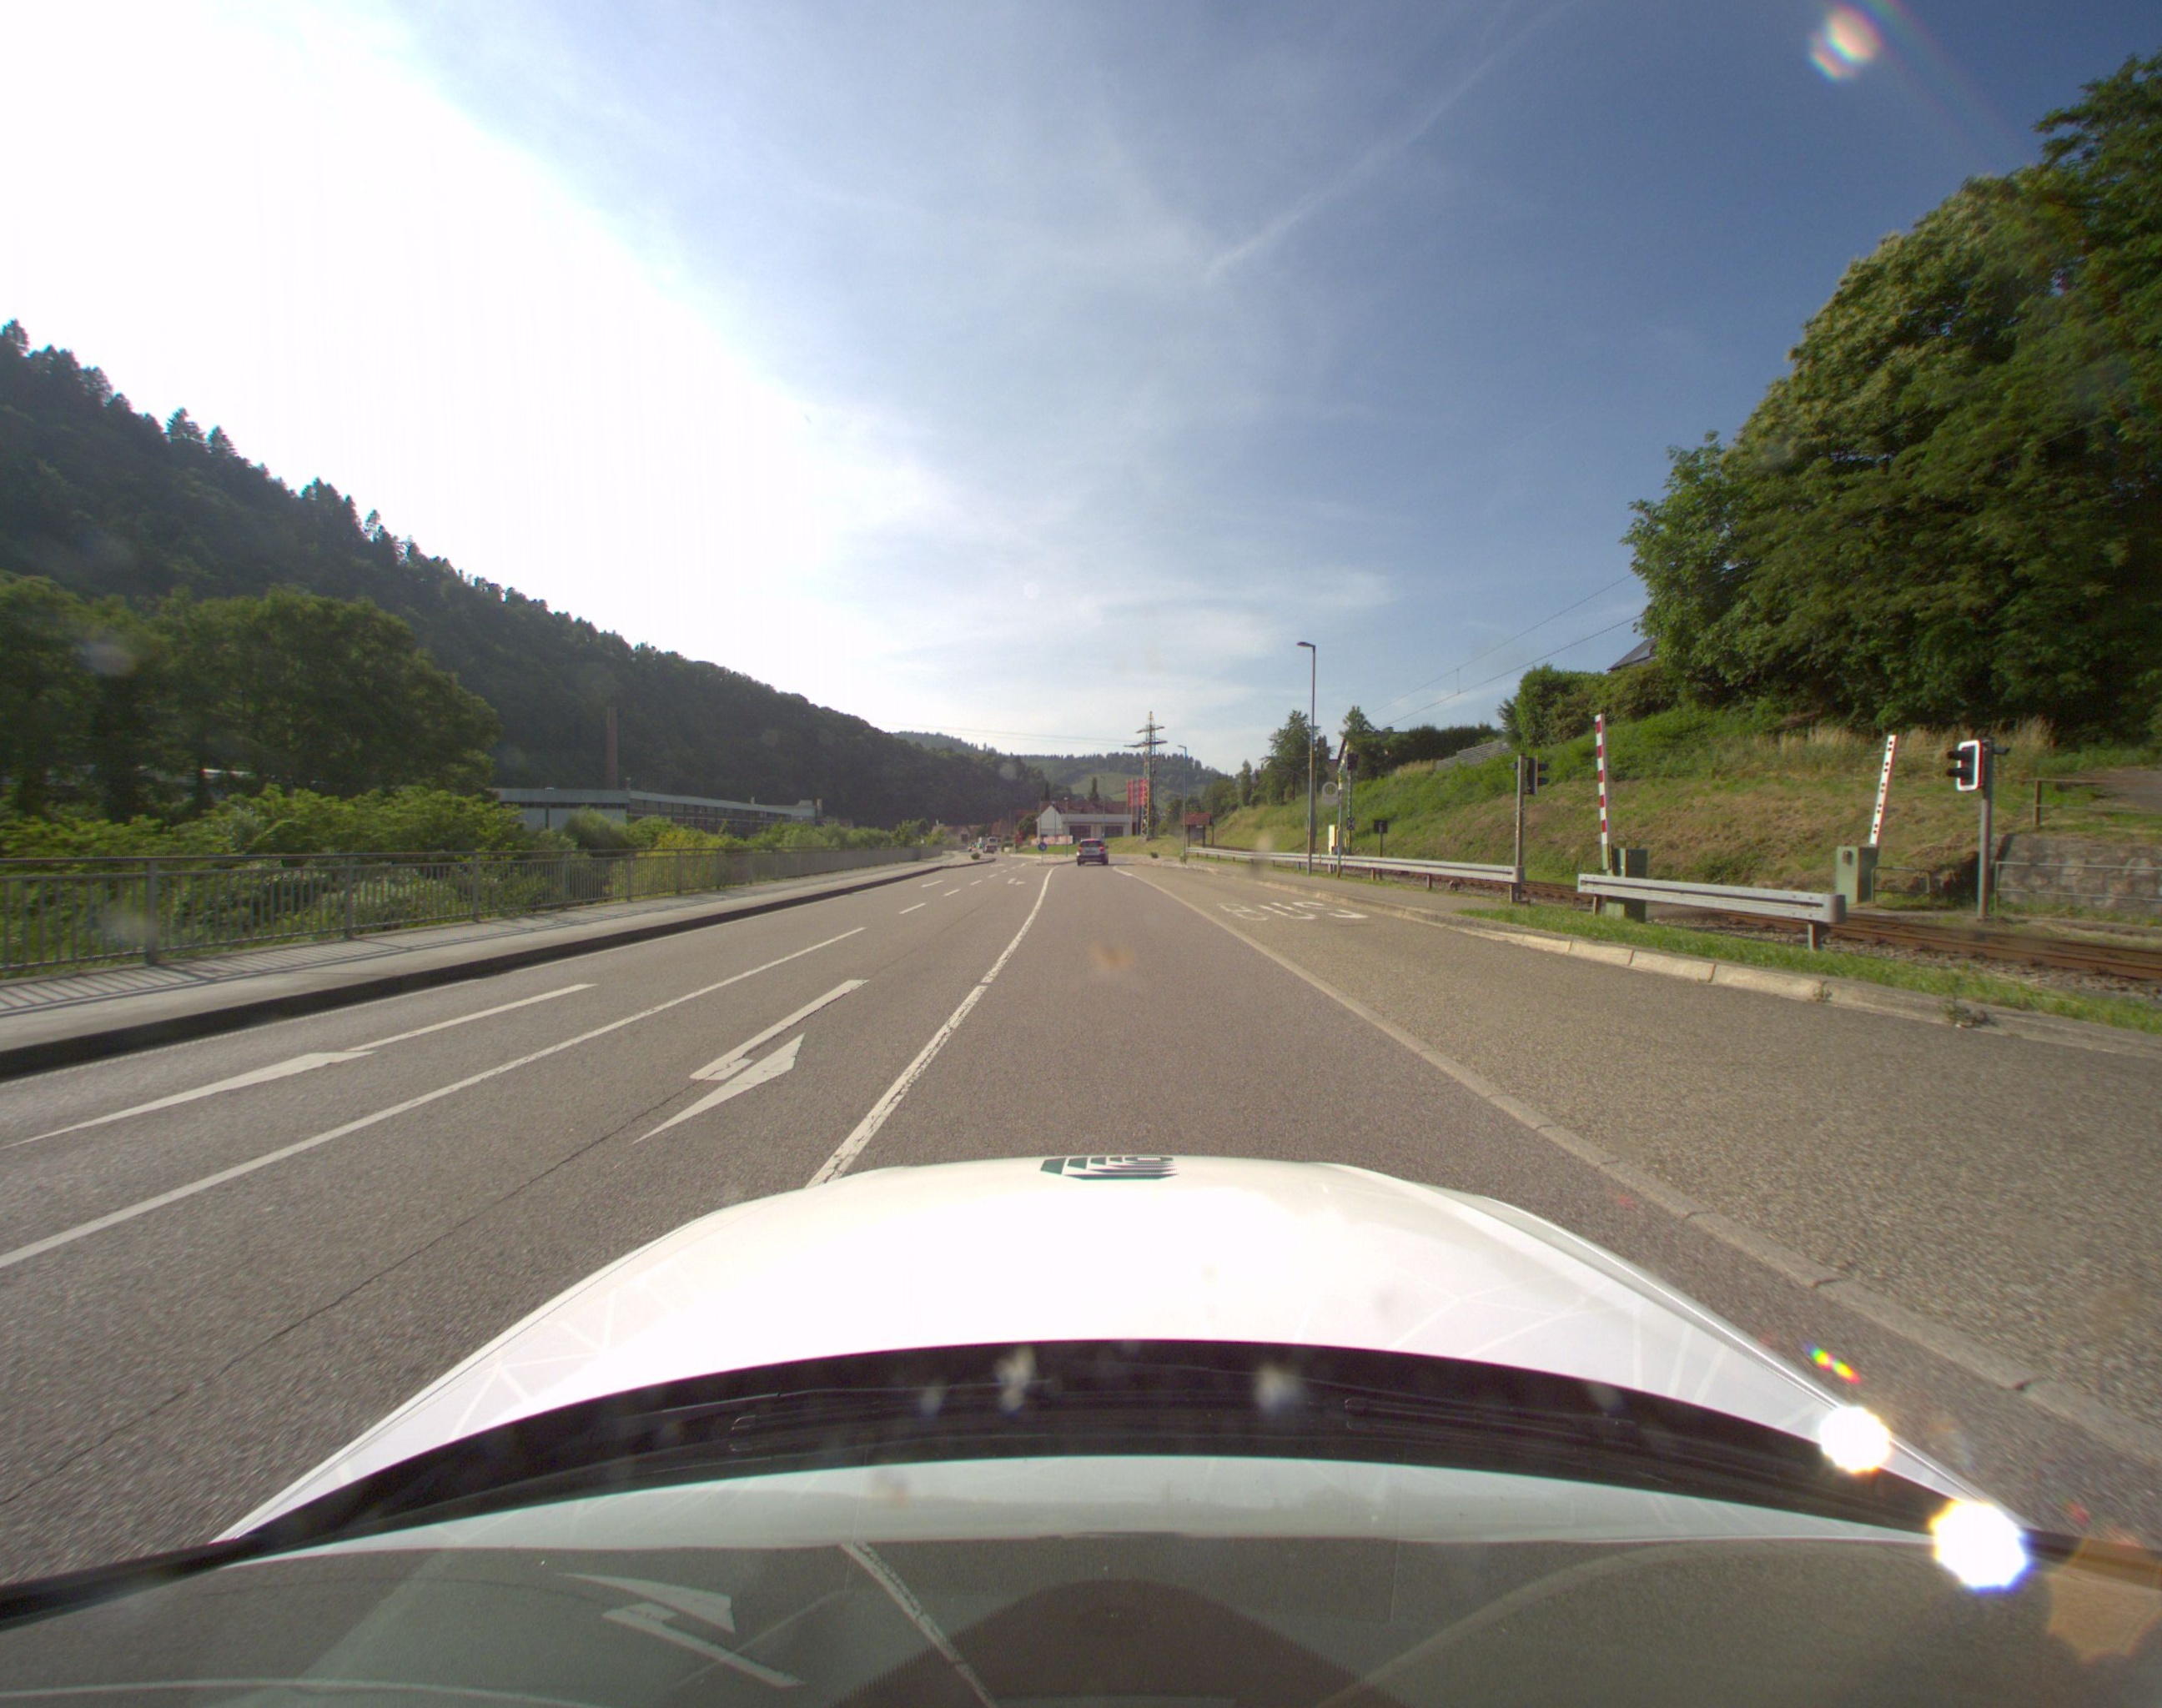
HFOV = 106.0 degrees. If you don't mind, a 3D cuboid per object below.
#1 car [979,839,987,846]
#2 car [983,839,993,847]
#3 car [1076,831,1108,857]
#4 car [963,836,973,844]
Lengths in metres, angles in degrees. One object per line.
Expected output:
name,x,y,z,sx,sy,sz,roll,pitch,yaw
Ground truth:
car,-20.598,-2.420,171.177,1.236,1.435,2.625,-2,2,-18
car,-16.597,-1.990,145.397,1.456,1.435,2.922,0,2,-14
car,0.629,-0.644,51.506,1.856,1.544,4.371,1,1,-1
car,-22.563,-2.724,162.400,1.665,1.549,3.699,1,2,-4
